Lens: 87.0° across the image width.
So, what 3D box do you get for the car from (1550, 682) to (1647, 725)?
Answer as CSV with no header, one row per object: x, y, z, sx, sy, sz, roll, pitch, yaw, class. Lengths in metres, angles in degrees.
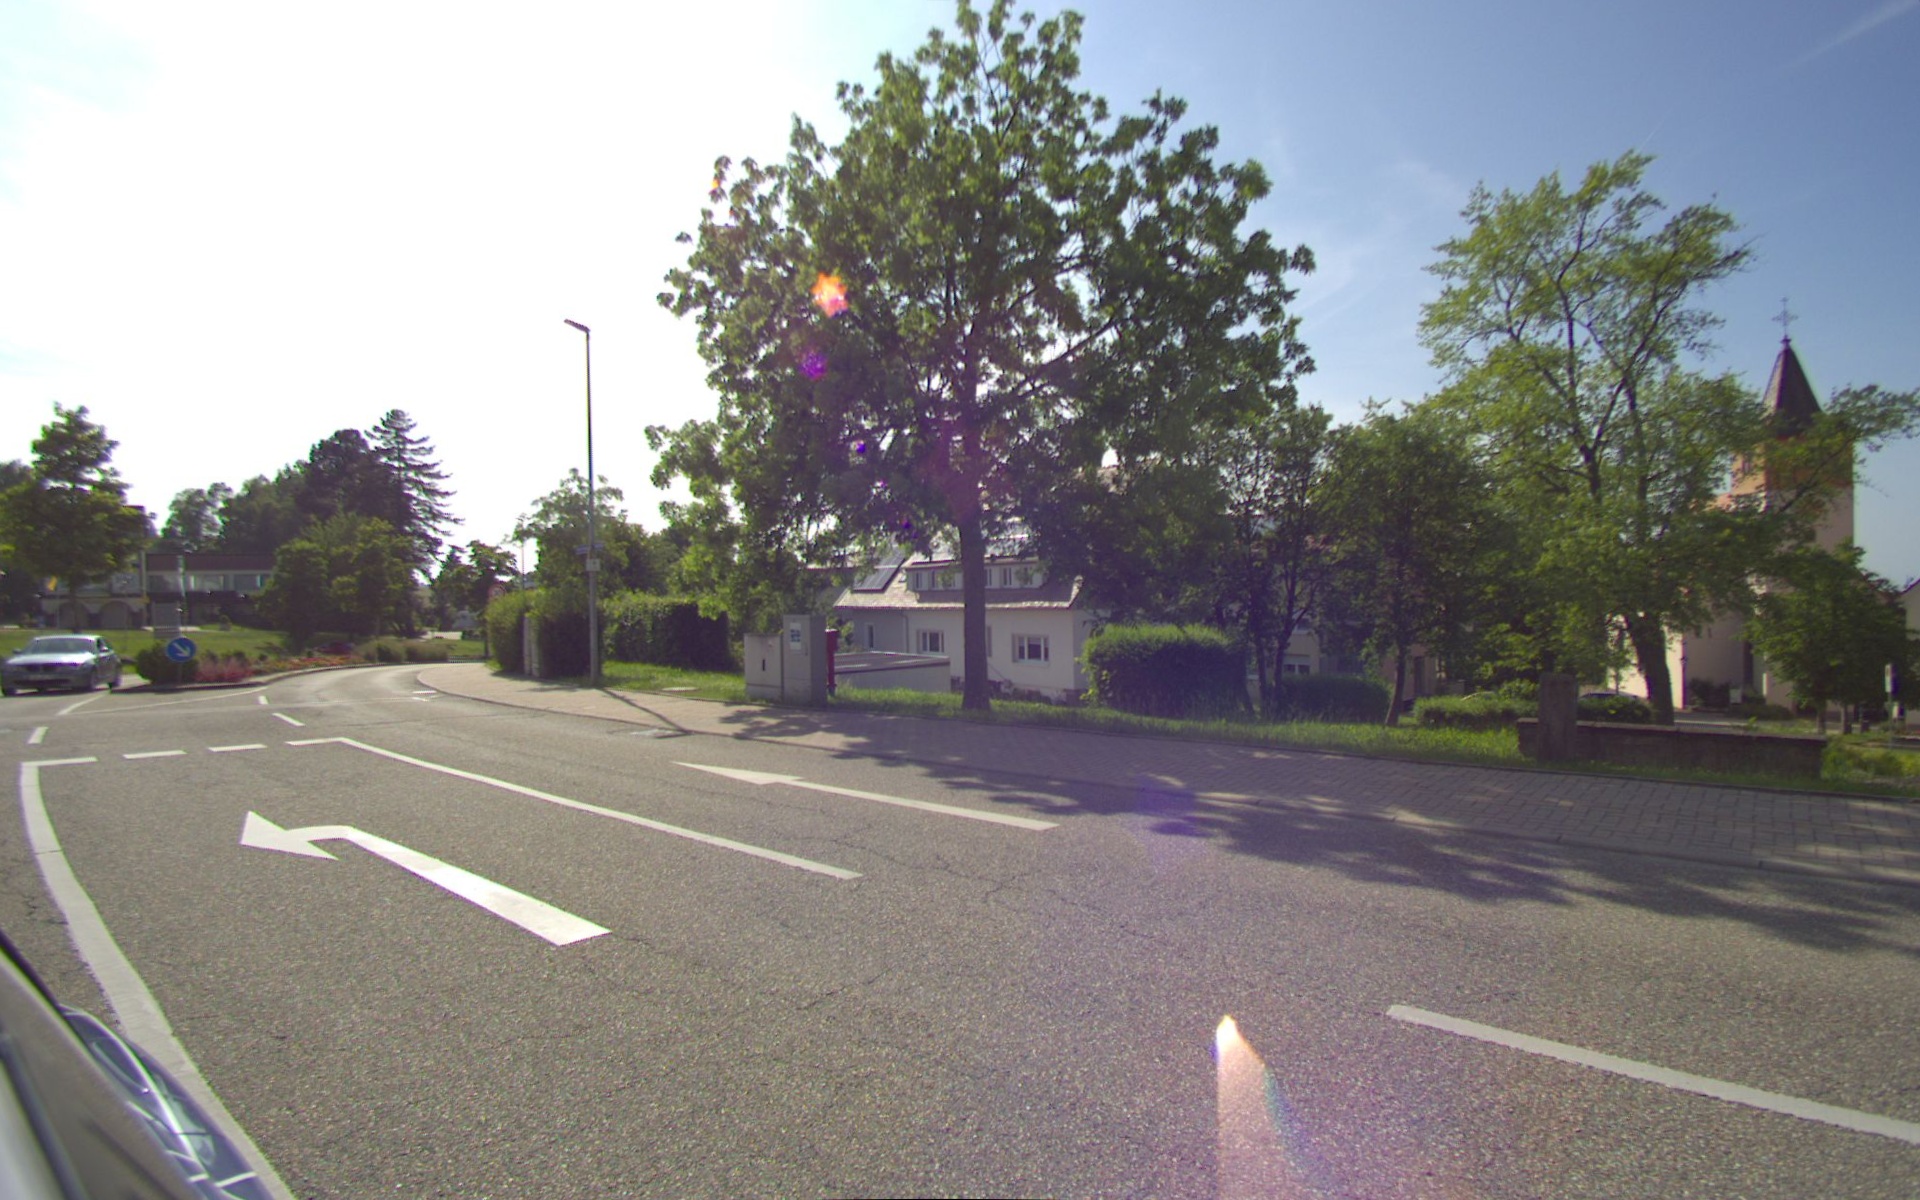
33.596,5.409,53.301,4.002,2.029,1.971,-2,-4,45,car

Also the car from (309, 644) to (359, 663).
-51.801,4.382,83.794,3.282,1.415,1.706,1,-2,15,car

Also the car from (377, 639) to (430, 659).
-49.693,4.361,90.368,3.970,1.630,1.987,1,-3,20,car

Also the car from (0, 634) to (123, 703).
-22.415,1.658,25.079,1.872,1.519,4.012,4,-3,-30,car

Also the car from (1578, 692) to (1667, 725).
38.561,6.285,58.954,4.002,1.676,1.971,-2,-4,45,car
